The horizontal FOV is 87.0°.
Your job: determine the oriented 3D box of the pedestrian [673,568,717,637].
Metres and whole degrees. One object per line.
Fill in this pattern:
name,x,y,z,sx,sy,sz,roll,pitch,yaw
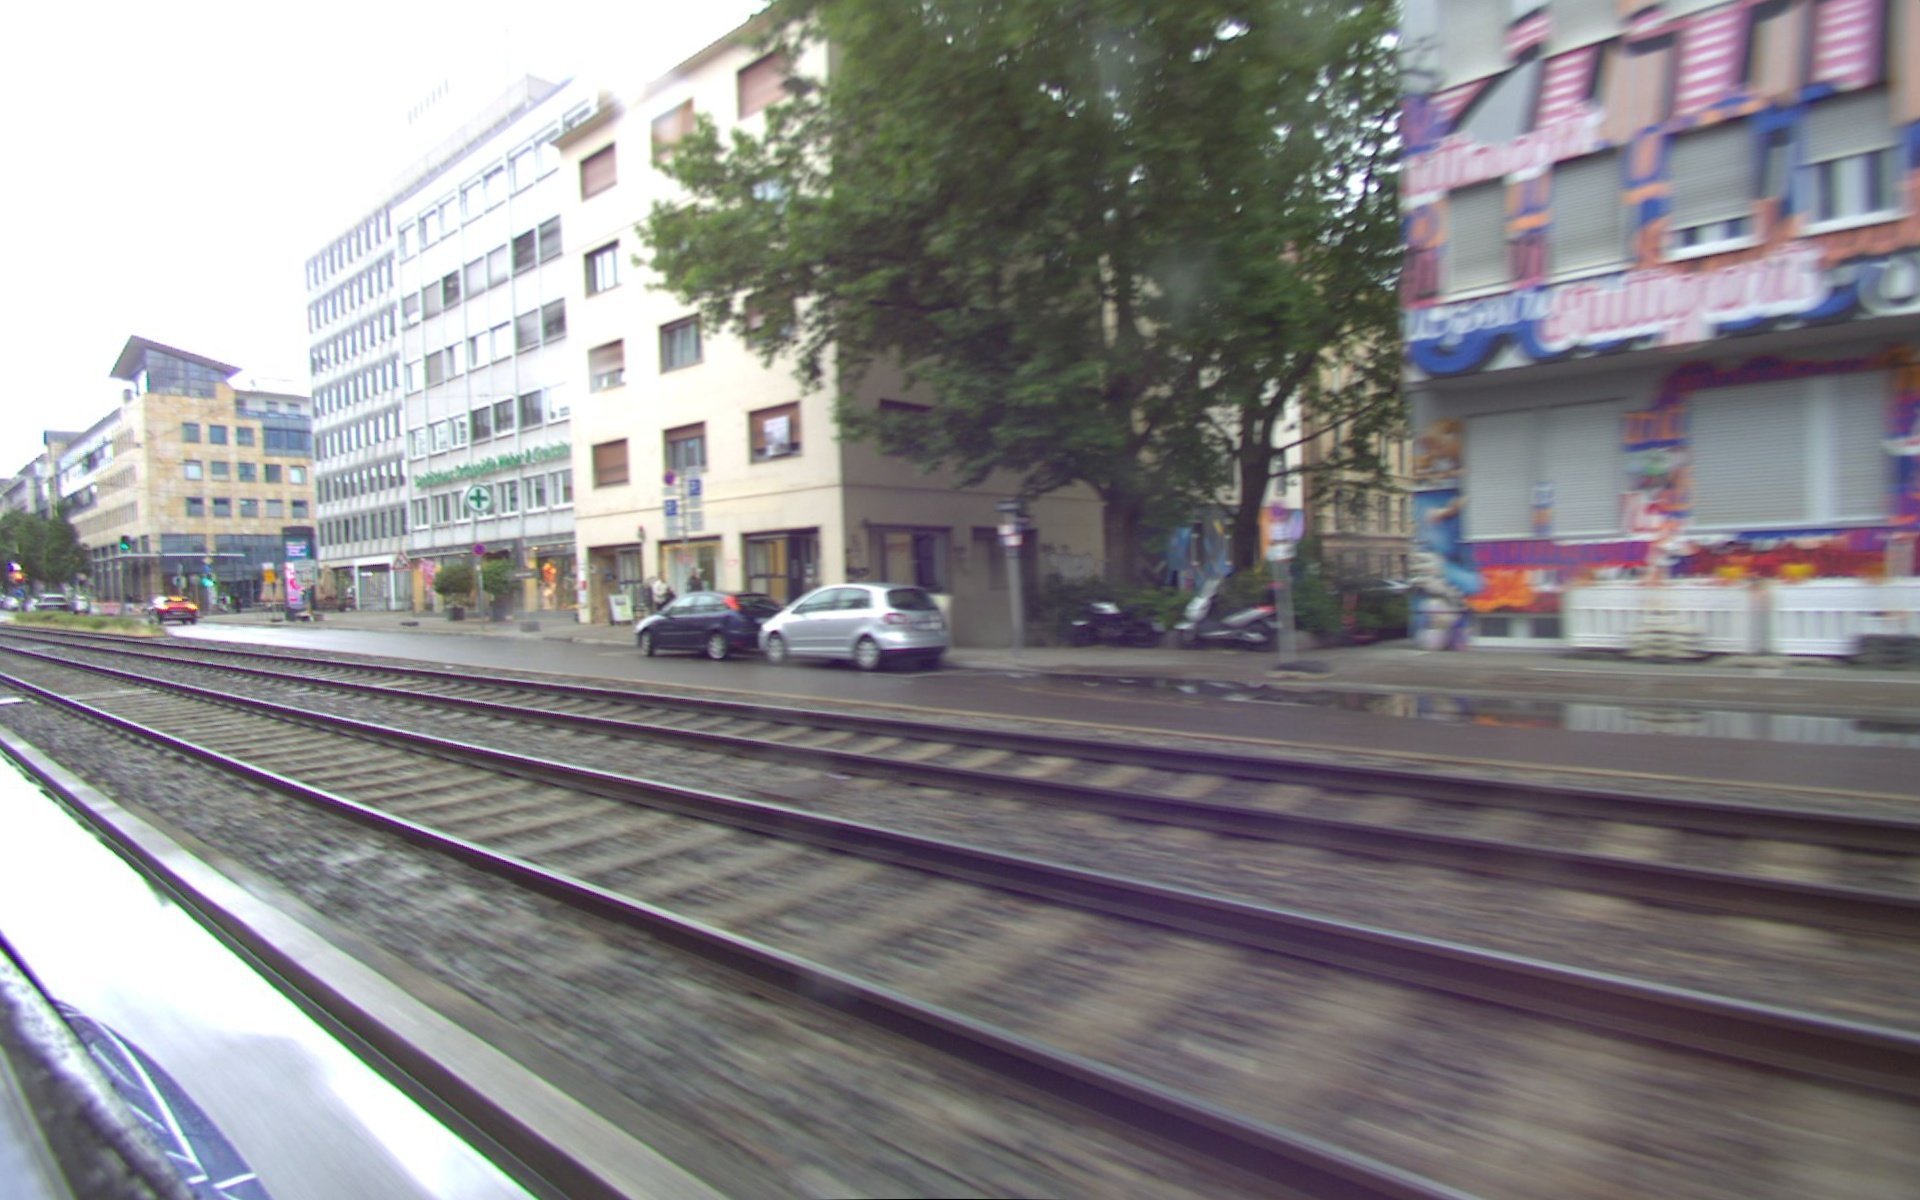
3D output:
pedestrian,-7.543,0.064,28.759,0.982,1.910,0.720,-1,2,41

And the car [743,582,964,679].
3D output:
car,-2.097,0.526,19.126,4.218,1.582,1.704,-1,2,41

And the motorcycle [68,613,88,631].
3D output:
motorcycle,-55.421,1.400,63.597,1.932,1.067,0.734,0,2,43

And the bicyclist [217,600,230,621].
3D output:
bicyclist,-65.359,0.939,89.854,0.783,1.818,0.701,-1,1,41

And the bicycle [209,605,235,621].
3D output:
bicycle,-65.460,1.188,89.774,0.659,1.320,1.746,-1,1,40

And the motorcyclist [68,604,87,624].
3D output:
motorcyclist,-55.470,0.878,63.614,0.970,1.226,0.733,0,2,43

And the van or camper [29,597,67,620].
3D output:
van or camper,-84.665,0.747,93.964,5.196,2.012,1.996,1,3,42

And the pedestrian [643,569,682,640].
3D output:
pedestrian,-8.293,0.117,28.197,0.742,1.910,0.671,-1,2,41

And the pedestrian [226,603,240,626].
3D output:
pedestrian,-58.924,1.144,82.017,0.667,1.794,0.705,-2,1,-14

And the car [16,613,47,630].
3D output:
car,-91.048,2.131,99.271,4.252,1.497,1.672,-1,1,40

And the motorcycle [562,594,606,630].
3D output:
motorcycle,-13.523,0.424,36.407,0.385,1.188,1.462,-1,1,40

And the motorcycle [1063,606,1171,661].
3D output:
motorcycle,3.163,0.669,20.540,2.118,1.040,0.632,-1,2,40

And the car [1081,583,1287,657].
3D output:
car,4.930,0.430,22.502,3.997,1.465,1.973,-2,0,41

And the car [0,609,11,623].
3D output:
car,-115.025,1.896,121.113,4.620,1.552,1.632,0,1,42

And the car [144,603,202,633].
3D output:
car,-44.575,0.984,57.281,4.446,1.530,1.971,-1,2,44

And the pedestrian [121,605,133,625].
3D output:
pedestrian,-75.953,1.387,92.266,0.679,1.828,0.693,-1,1,44

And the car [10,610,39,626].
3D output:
car,-98.263,1.893,106.290,3.997,1.497,1.672,-1,1,40

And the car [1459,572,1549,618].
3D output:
car,18.118,-0.192,33.624,1.793,1.375,3.946,-2,1,41

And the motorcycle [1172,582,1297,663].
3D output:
motorcycle,5.029,0.404,18.620,2.118,1.389,0.632,-1,2,40

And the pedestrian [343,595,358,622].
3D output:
pedestrian,-42.885,0.607,71.240,0.843,1.836,0.559,-1,1,37

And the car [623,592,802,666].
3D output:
car,-5.530,0.605,22.347,4.218,1.480,1.726,-1,0,41

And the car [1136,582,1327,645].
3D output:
car,6.534,0.318,24.544,3.997,1.375,1.973,-2,1,41
